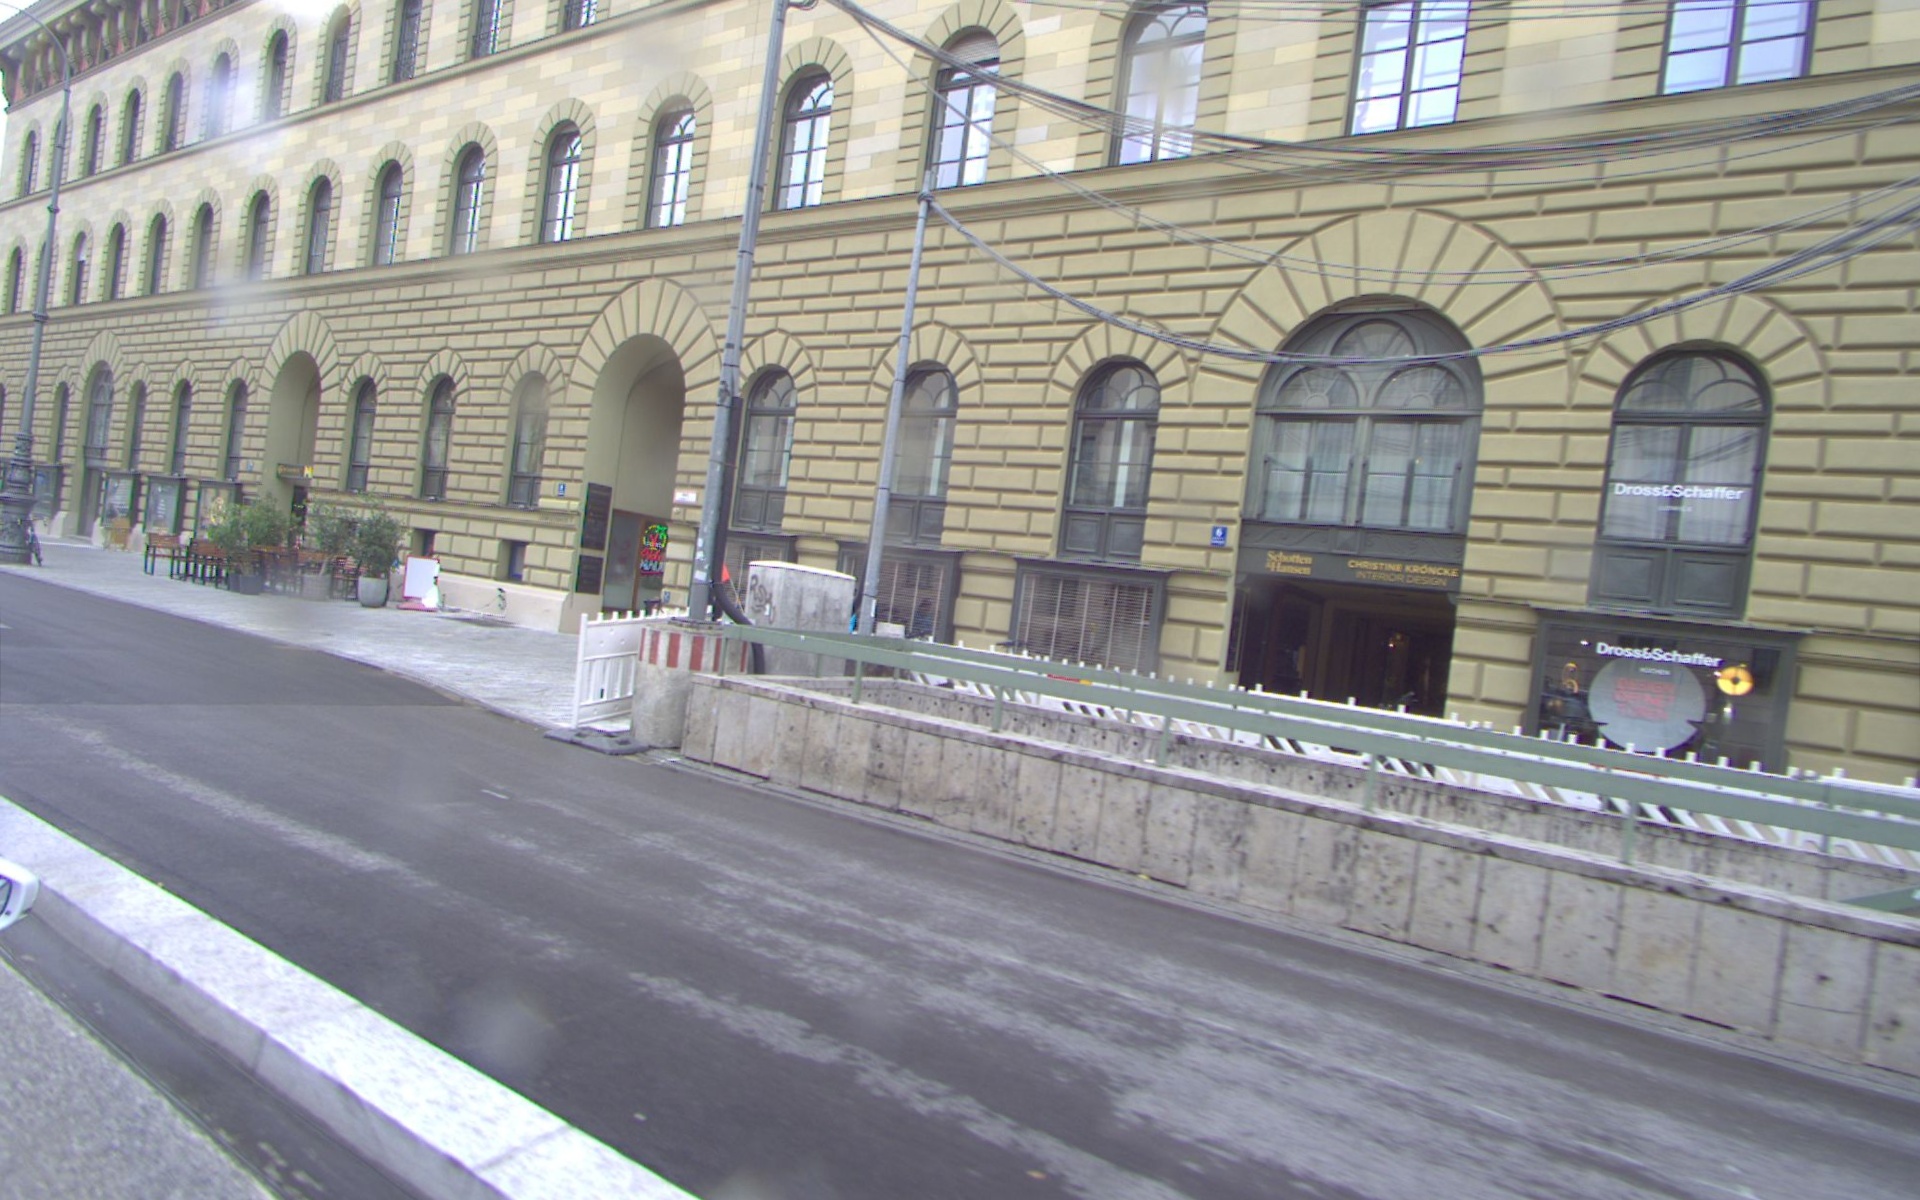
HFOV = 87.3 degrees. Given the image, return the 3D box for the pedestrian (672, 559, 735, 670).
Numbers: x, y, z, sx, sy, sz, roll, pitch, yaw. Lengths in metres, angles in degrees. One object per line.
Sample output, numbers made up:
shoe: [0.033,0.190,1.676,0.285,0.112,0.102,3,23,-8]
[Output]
pedestrian: [-4.191,0.234,16.456,0.668,1.732,0.556,6,0,41]

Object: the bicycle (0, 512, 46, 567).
bicycle: [-19.720,-1.279,21.078,1.626,1.034,0.518,5,-1,39]

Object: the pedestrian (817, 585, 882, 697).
pedestrian: [-1.621,0.603,14.815,0.620,1.573,0.499,6,0,30]

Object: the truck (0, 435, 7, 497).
truck: [-27.970,-3.204,26.744,5.717,2.798,2.623,6,-1,36]

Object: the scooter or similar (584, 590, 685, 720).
scooter or similar: [-3.392,0.563,10.545,0.292,1.266,1.140,6,1,19]
